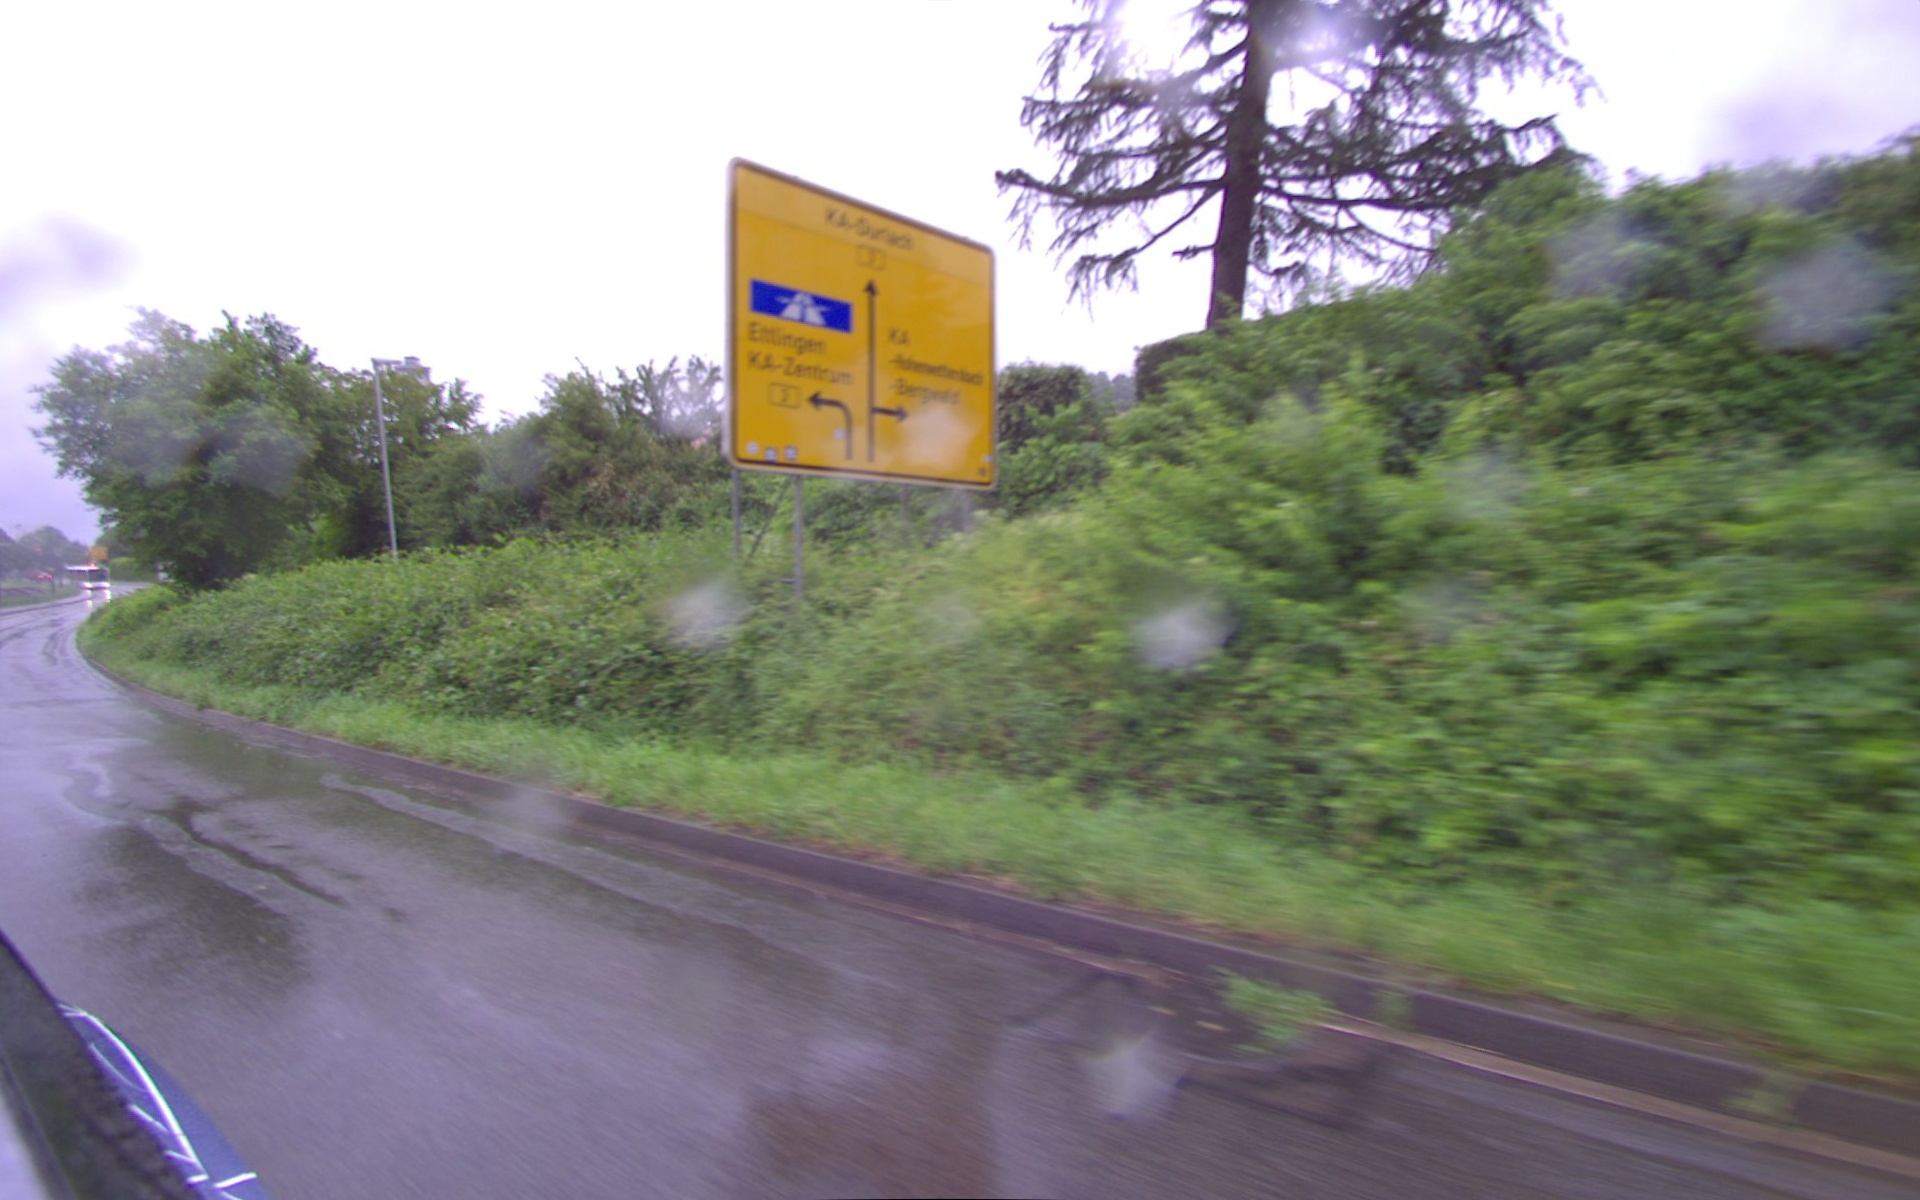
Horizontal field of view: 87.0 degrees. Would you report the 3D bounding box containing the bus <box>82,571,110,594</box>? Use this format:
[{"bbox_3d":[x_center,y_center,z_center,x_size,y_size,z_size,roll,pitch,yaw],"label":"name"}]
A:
[{"bbox_3d":[-125.471,-2.632,147.036,2.636,3.100,10.015,-3,4,-39],"label":"bus"}]
